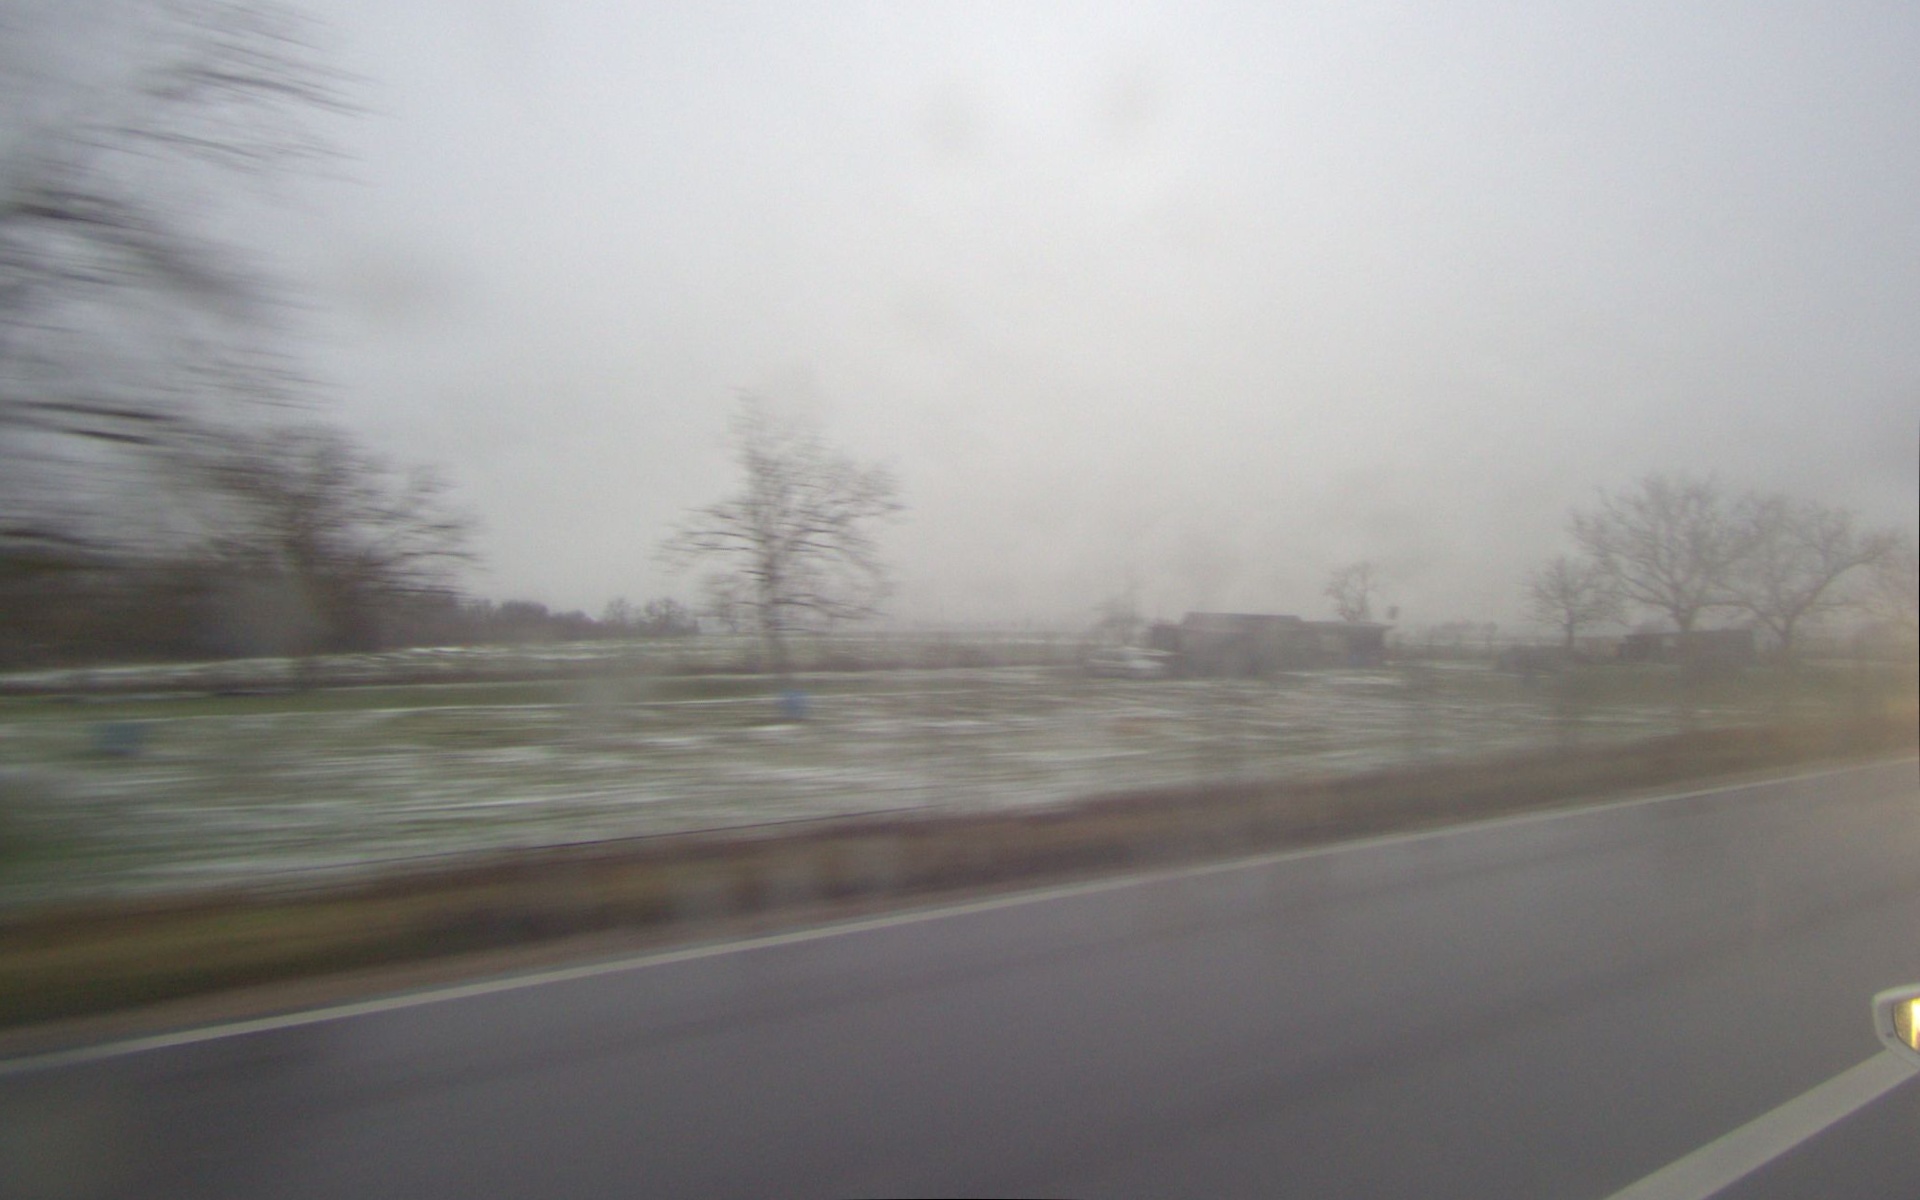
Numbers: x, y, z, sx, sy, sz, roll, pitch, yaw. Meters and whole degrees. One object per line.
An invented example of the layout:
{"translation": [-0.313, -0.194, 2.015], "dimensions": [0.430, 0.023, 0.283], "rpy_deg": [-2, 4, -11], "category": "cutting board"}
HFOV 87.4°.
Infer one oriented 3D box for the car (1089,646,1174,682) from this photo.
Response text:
{"translation": [7.533, 2.797, 44.322], "dimensions": [1.588, 1.360, 3.407], "rpy_deg": [2, 0, -43], "category": "car"}
